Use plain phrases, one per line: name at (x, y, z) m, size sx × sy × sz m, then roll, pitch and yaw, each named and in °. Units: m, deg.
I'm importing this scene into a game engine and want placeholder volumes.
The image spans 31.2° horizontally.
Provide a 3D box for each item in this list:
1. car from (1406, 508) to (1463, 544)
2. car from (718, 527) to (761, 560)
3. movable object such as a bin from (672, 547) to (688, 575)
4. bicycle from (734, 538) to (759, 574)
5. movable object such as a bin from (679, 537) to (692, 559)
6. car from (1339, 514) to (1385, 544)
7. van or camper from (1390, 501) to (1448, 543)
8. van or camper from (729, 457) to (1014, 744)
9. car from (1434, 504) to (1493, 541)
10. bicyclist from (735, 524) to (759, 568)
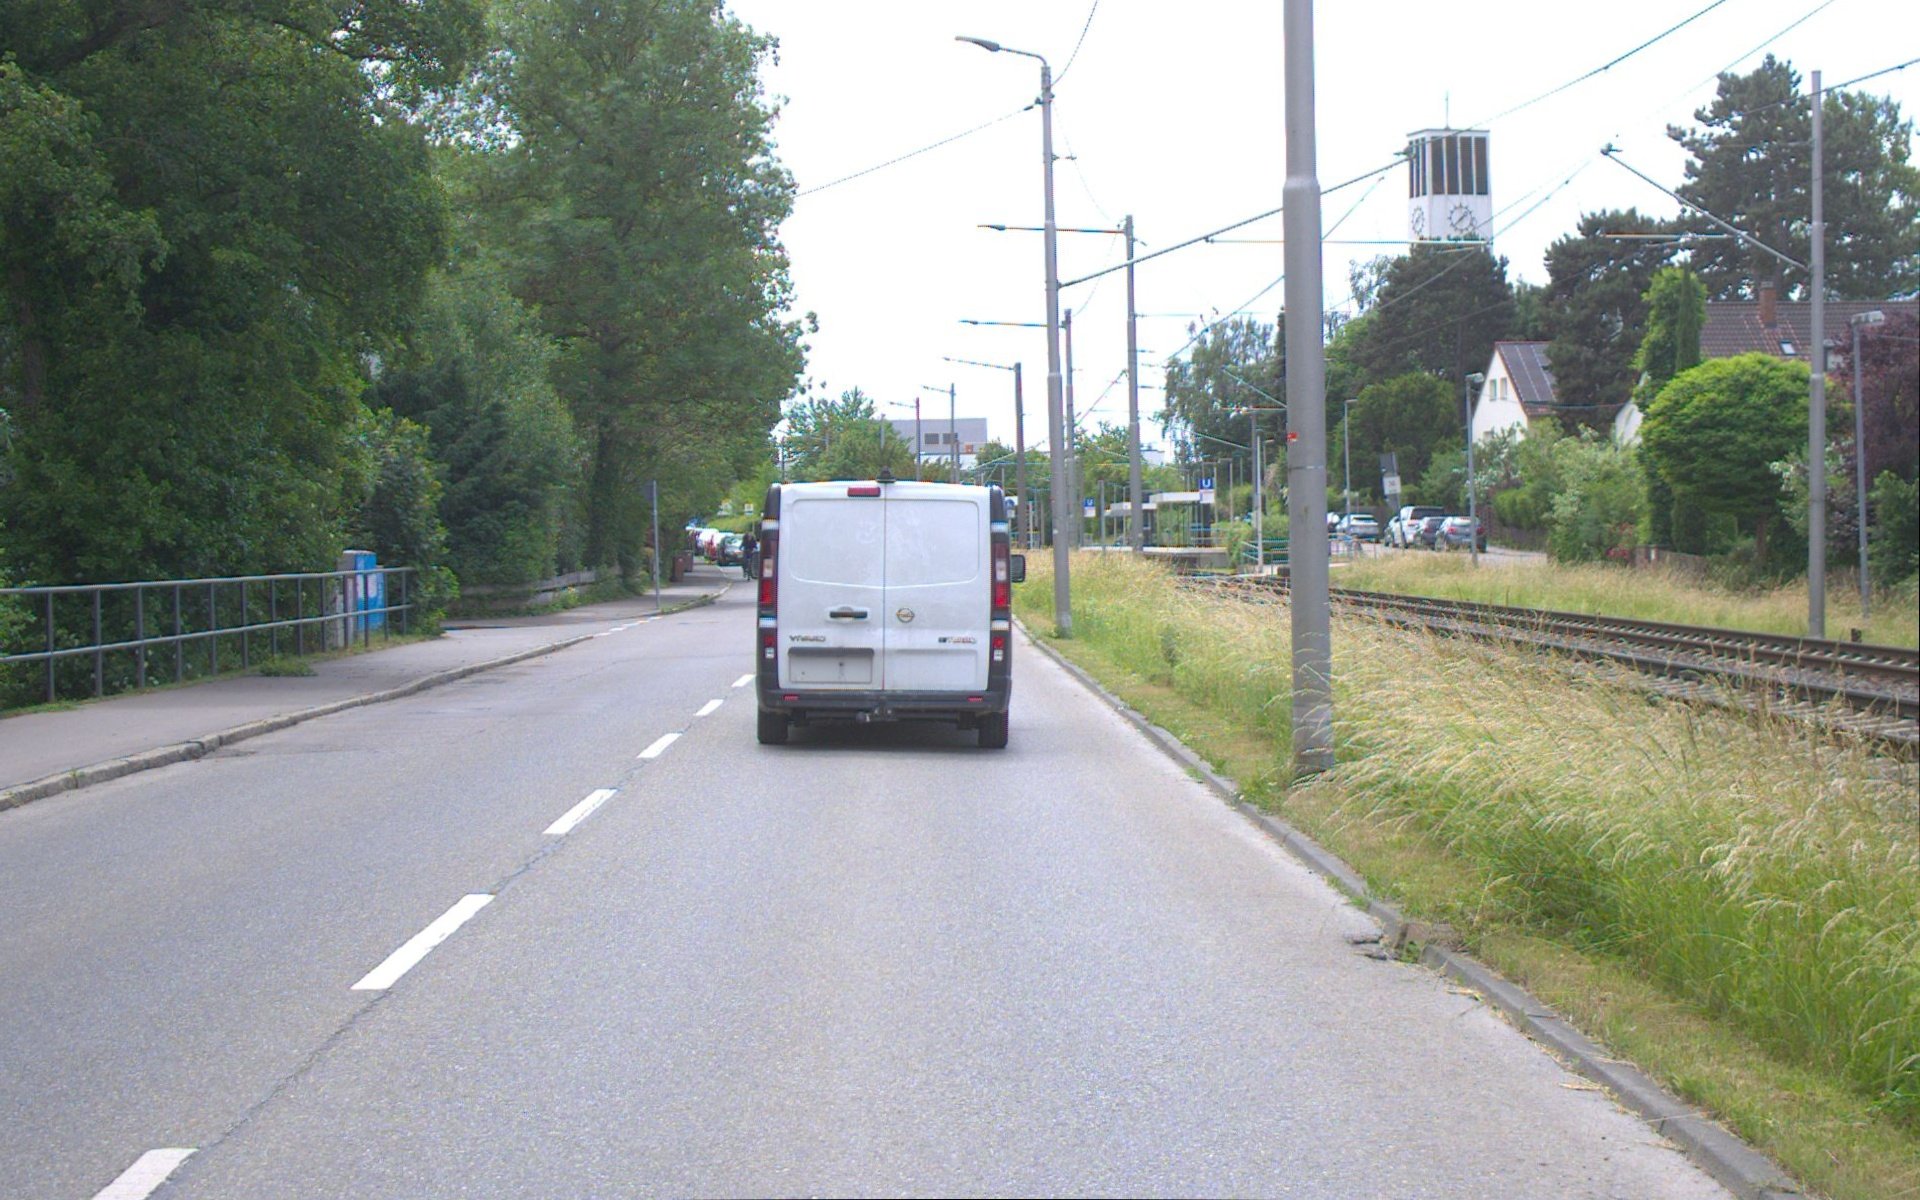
car at (20.684, -3.229, 149.963) m, size 1.883 × 1.517 × 4.000 m, roll -1°, pitch 1°, yaw 0°
car at (-10.640, -2.748, 165.973) m, size 1.736 × 1.499 × 4.479 m, roll -3°, pitch 2°, yaw -7°
movable object such as a bin at (-9.696, -1.352, 119.192) m, size 0.513 × 0.941 × 0.568 m, roll 0°, pitch 1°, yaw -1°
bicycle at (-7.679, -1.584, 123.785) m, size 0.755 × 1.222 × 2.308 m, roll -3°, pitch 1°, yaw -1°
movable object such as a bin at (-11.702, -2.215, 146.590) m, size 0.462 × 0.927 × 0.430 m, roll 2°, pitch 0°, yaw -18°
car at (20.624, -3.641, 176.622) m, size 1.883 × 1.517 × 4.000 m, roll -1°, pitch 1°, yaw 0°
van or camper at (20.603, -3.489, 154.600) m, size 1.905 × 1.819 × 5.048 m, roll -1°, pitch 1°, yaw 0°
van or camper at (-0.645, -0.027, 26.481) m, size 1.993 × 2.007 × 4.446 m, roll 1°, pitch 1°, yaw 0°
car at (21.058, -3.240, 143.891) m, size 1.883 × 1.517 × 4.000 m, roll -1°, pitch 1°, yaw 0°
bicyclist at (-7.675, -1.949, 123.942) m, size 0.778 × 1.544 × 0.870 m, roll -1°, pitch 1°, yaw -1°
